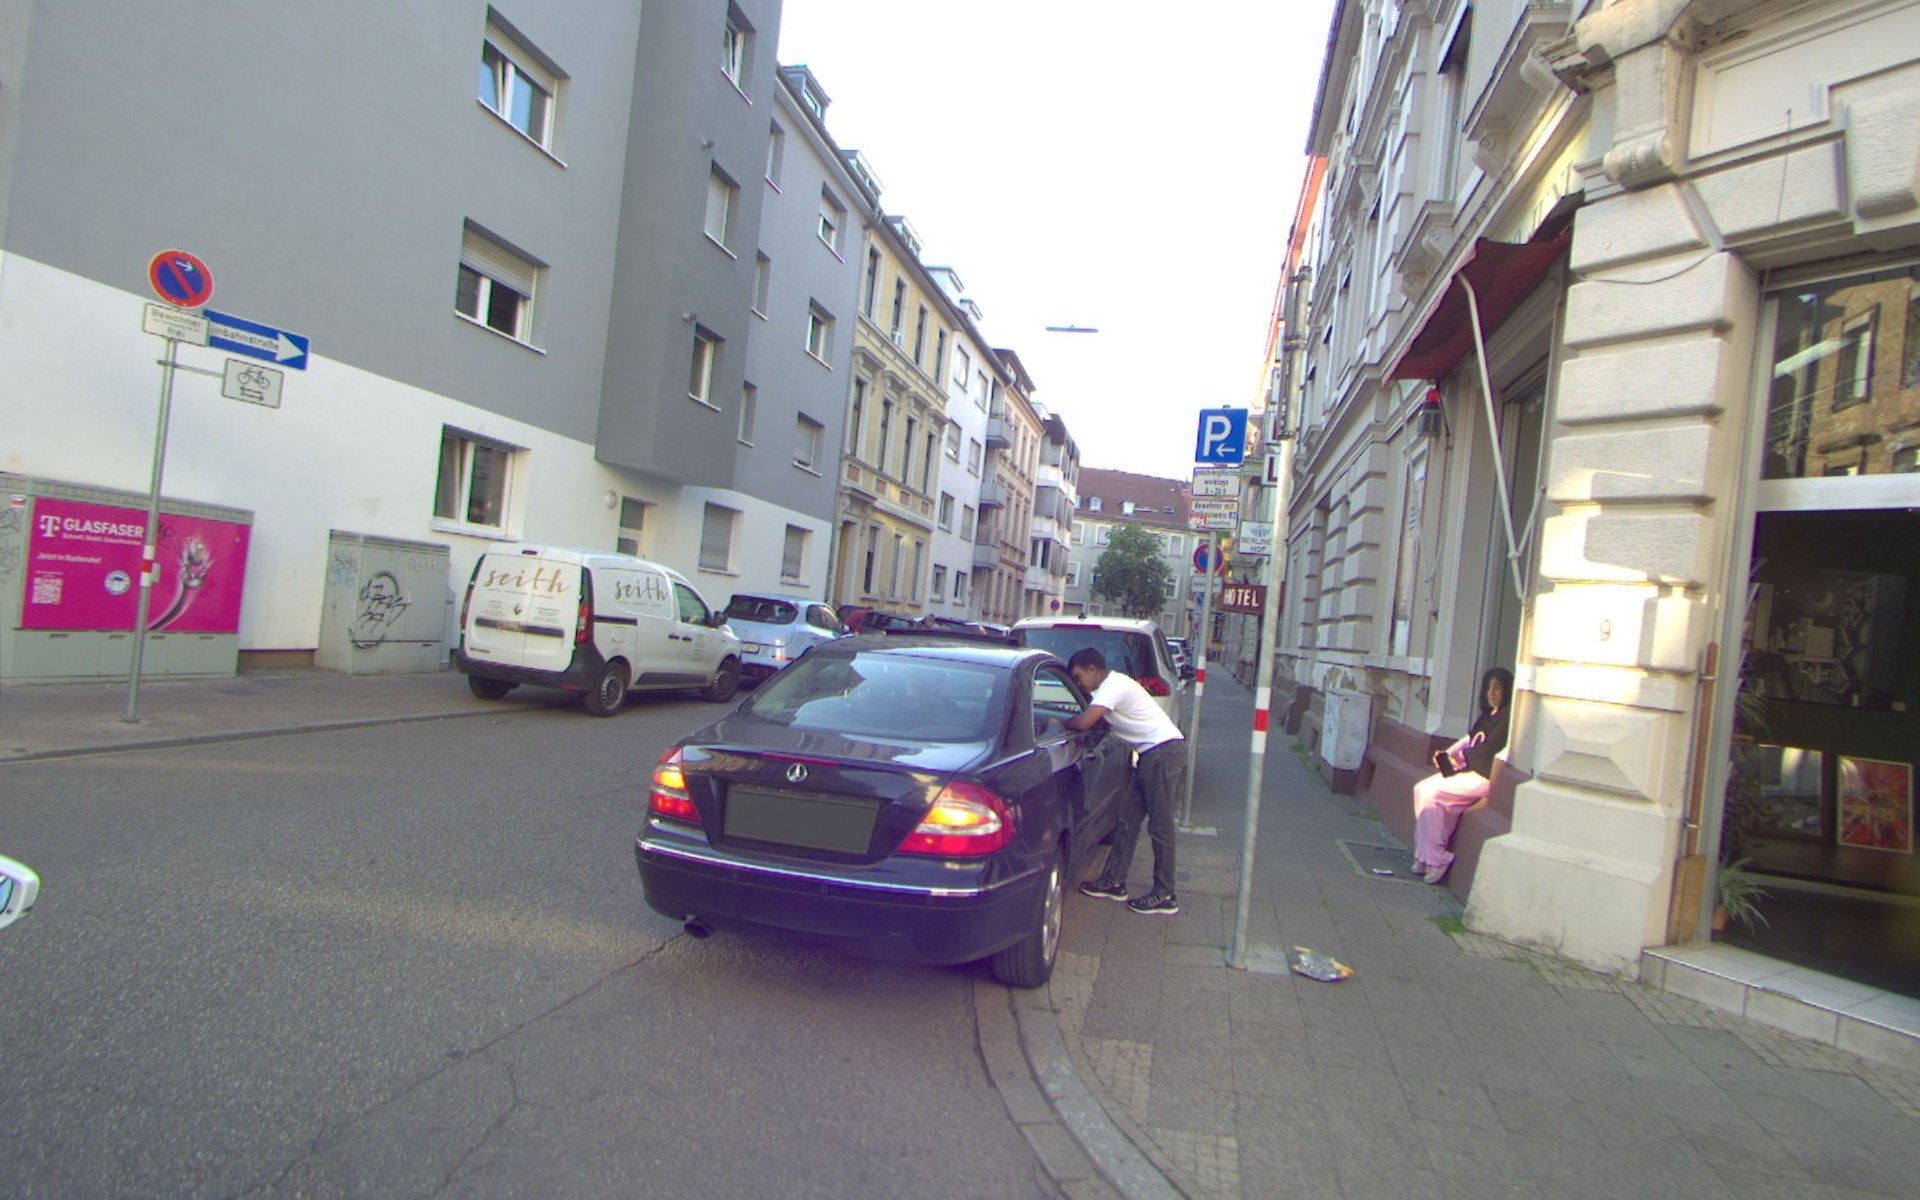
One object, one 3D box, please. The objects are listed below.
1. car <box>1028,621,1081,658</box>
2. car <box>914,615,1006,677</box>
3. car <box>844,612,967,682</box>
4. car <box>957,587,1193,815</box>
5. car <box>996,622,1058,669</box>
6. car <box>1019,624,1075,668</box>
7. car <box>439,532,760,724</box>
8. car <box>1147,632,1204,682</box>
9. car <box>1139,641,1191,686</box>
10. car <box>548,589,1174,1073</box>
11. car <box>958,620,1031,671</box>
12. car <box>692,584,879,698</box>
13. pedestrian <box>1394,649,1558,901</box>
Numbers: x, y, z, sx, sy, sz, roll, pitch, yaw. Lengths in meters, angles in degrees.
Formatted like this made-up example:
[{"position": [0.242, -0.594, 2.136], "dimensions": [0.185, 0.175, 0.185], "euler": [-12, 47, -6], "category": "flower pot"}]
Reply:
[{"position": [4.928, 2.062, 52.141], "dimensions": [1.962, 1.682, 3.980], "euler": [6, -1, 15], "category": "car"}, {"position": [0.075, 1.338, 29.527], "dimensions": [1.700, 1.527, 3.832], "euler": [6, -1, 14], "category": "car"}, {"position": [-1.174, 1.136, 23.824], "dimensions": [1.657, 1.347, 4.136], "euler": [6, -2, 14], "category": "car"}, {"position": [1.465, 0.937, 10.837], "dimensions": [1.788, 1.745, 4.463], "euler": [6, -1, 14], "category": "car"}, {"position": [2.756, 1.799, 40.269], "dimensions": [1.589, 1.589, 4.305], "euler": [6, -1, 14], "category": "car"}, {"position": [4.072, 2.088, 46.210], "dimensions": [1.962, 1.686, 4.412], "euler": [6, -1, 11], "category": "car"}, {"position": [-4.200, 0.357, 12.549], "dimensions": [1.605, 1.836, 4.187], "euler": [6, 0, 13], "category": "car"}, {"position": [9.004, 2.353, 41.731], "dimensions": [1.962, 1.753, 4.062], "euler": [6, -1, 15], "category": "car"}, {"position": [7.273, 2.212, 35.498], "dimensions": [1.636, 1.476, 3.761], "euler": [0, -2, 14], "category": "car"}, {"position": [0.041, 0.863, 5.857], "dimensions": [1.854, 1.425, 4.730], "euler": [6, -1, 17], "category": "car"}, {"position": [1.245, 1.545, 34.414], "dimensions": [1.604, 1.490, 3.756], "euler": [6, -1, 14], "category": "car"}, {"position": [-2.869, 0.667, 17.620], "dimensions": [1.735, 1.583, 4.367], "euler": [6, 0, 10], "category": "car"}, {"position": [3.352, 1.101, 6.588], "dimensions": [0.703, 1.489, 0.581], "euler": [6, 0, 14], "category": "pedestrian"}]
